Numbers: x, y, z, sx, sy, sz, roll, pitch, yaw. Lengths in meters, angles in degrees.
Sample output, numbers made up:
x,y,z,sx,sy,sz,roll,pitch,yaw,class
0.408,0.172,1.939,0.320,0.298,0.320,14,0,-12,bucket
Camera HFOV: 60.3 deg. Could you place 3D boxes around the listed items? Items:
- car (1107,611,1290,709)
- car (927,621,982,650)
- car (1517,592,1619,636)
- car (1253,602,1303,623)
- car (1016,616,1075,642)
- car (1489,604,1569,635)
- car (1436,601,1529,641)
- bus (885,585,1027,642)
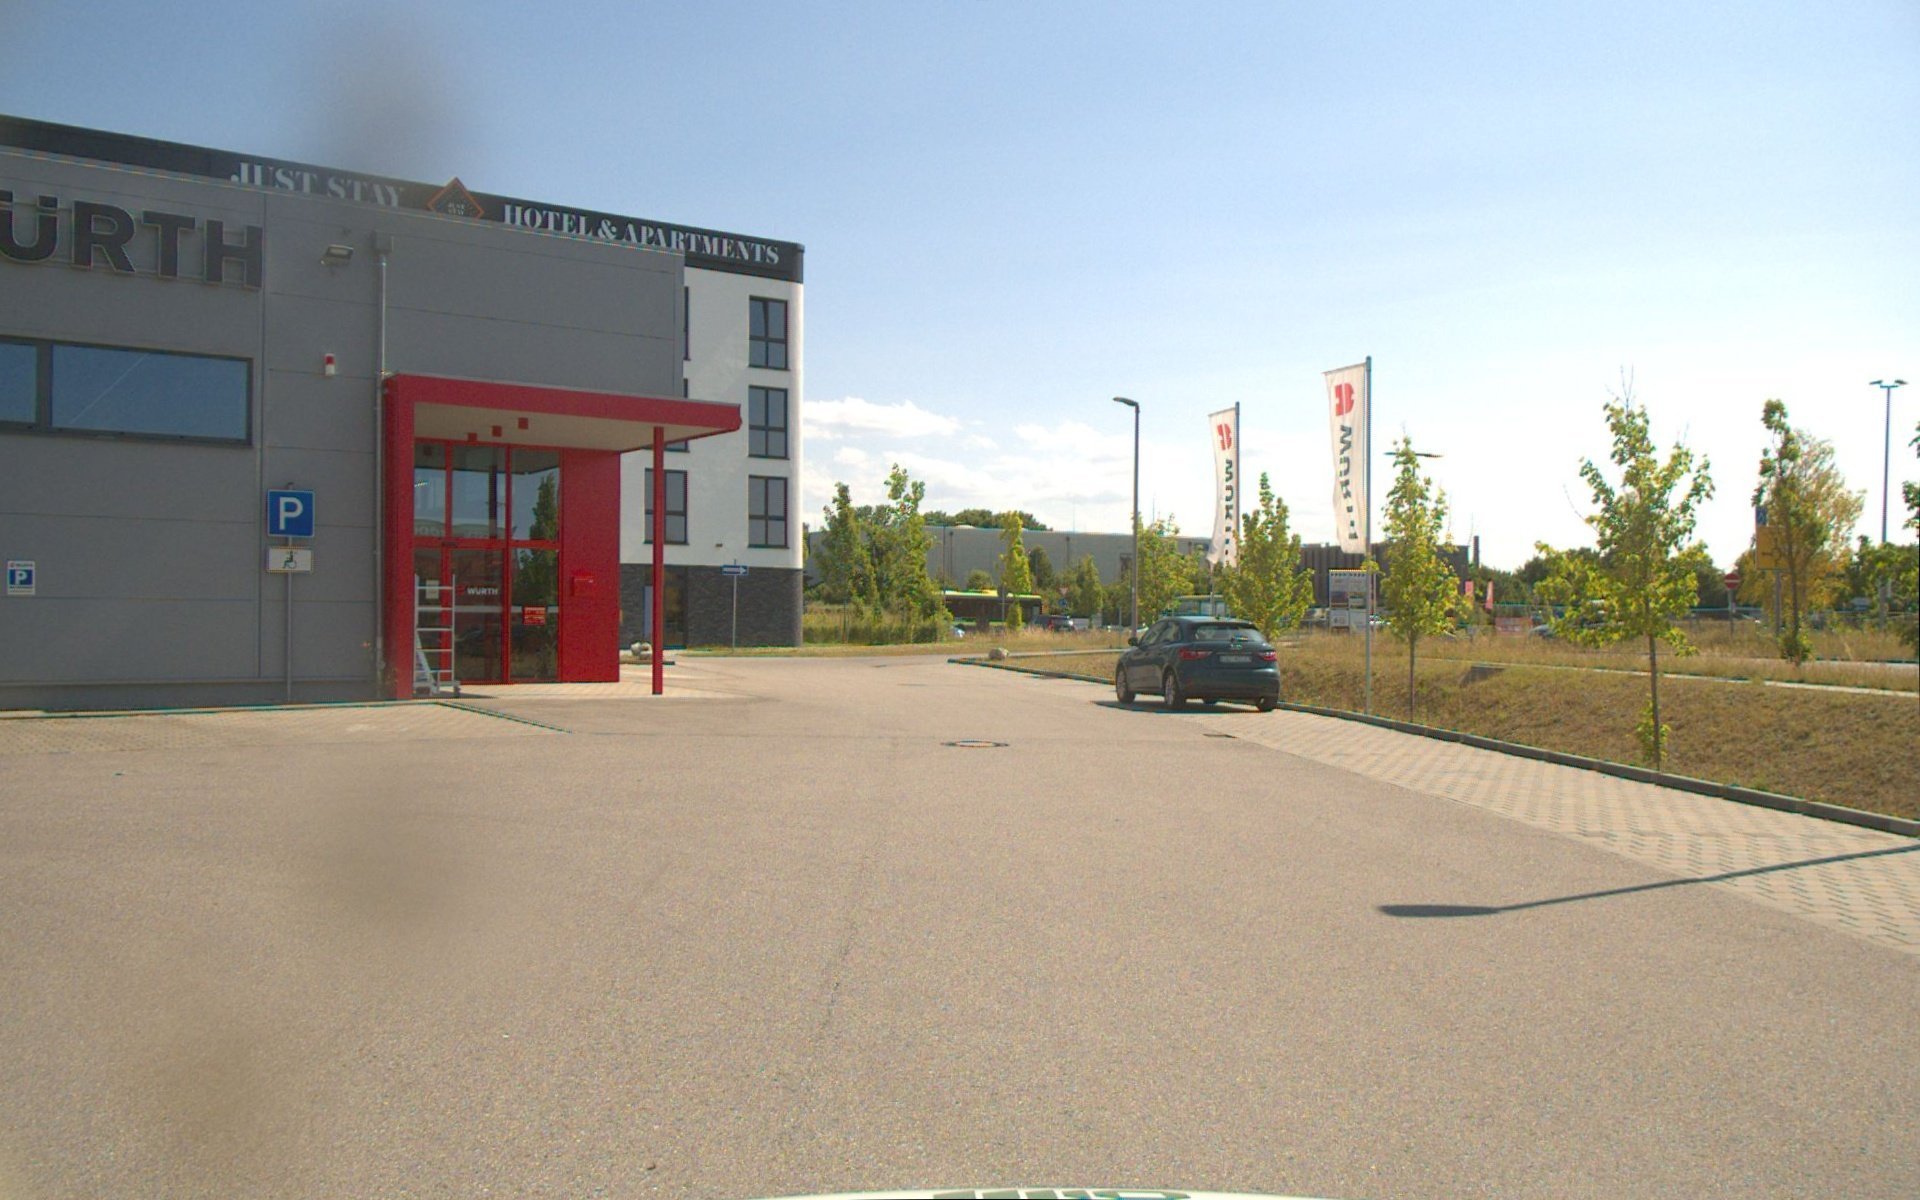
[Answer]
x,y,z,sx,sy,sz,roll,pitch,yaw,class
3.735,0.912,26.547,1.668,1.431,3.885,1,0,-12,car
-0.319,1.938,90.272,1.693,1.468,3.680,0,0,-24,car
23.561,0.533,64.109,3.609,1.626,1.701,0,0,-26,car
26.111,0.987,135.840,3.910,1.687,1.885,0,0,-34,car
4.839,1.652,94.279,1.633,1.410,3.470,0,0,-34,car
26.756,0.902,77.740,3.664,1.420,1.574,0,0,-30,car
22.127,0.875,70.004,3.609,1.626,1.701,0,0,-26,car
-0.136,0.846,109.976,2.531,3.619,11.177,0,0,43,bus
